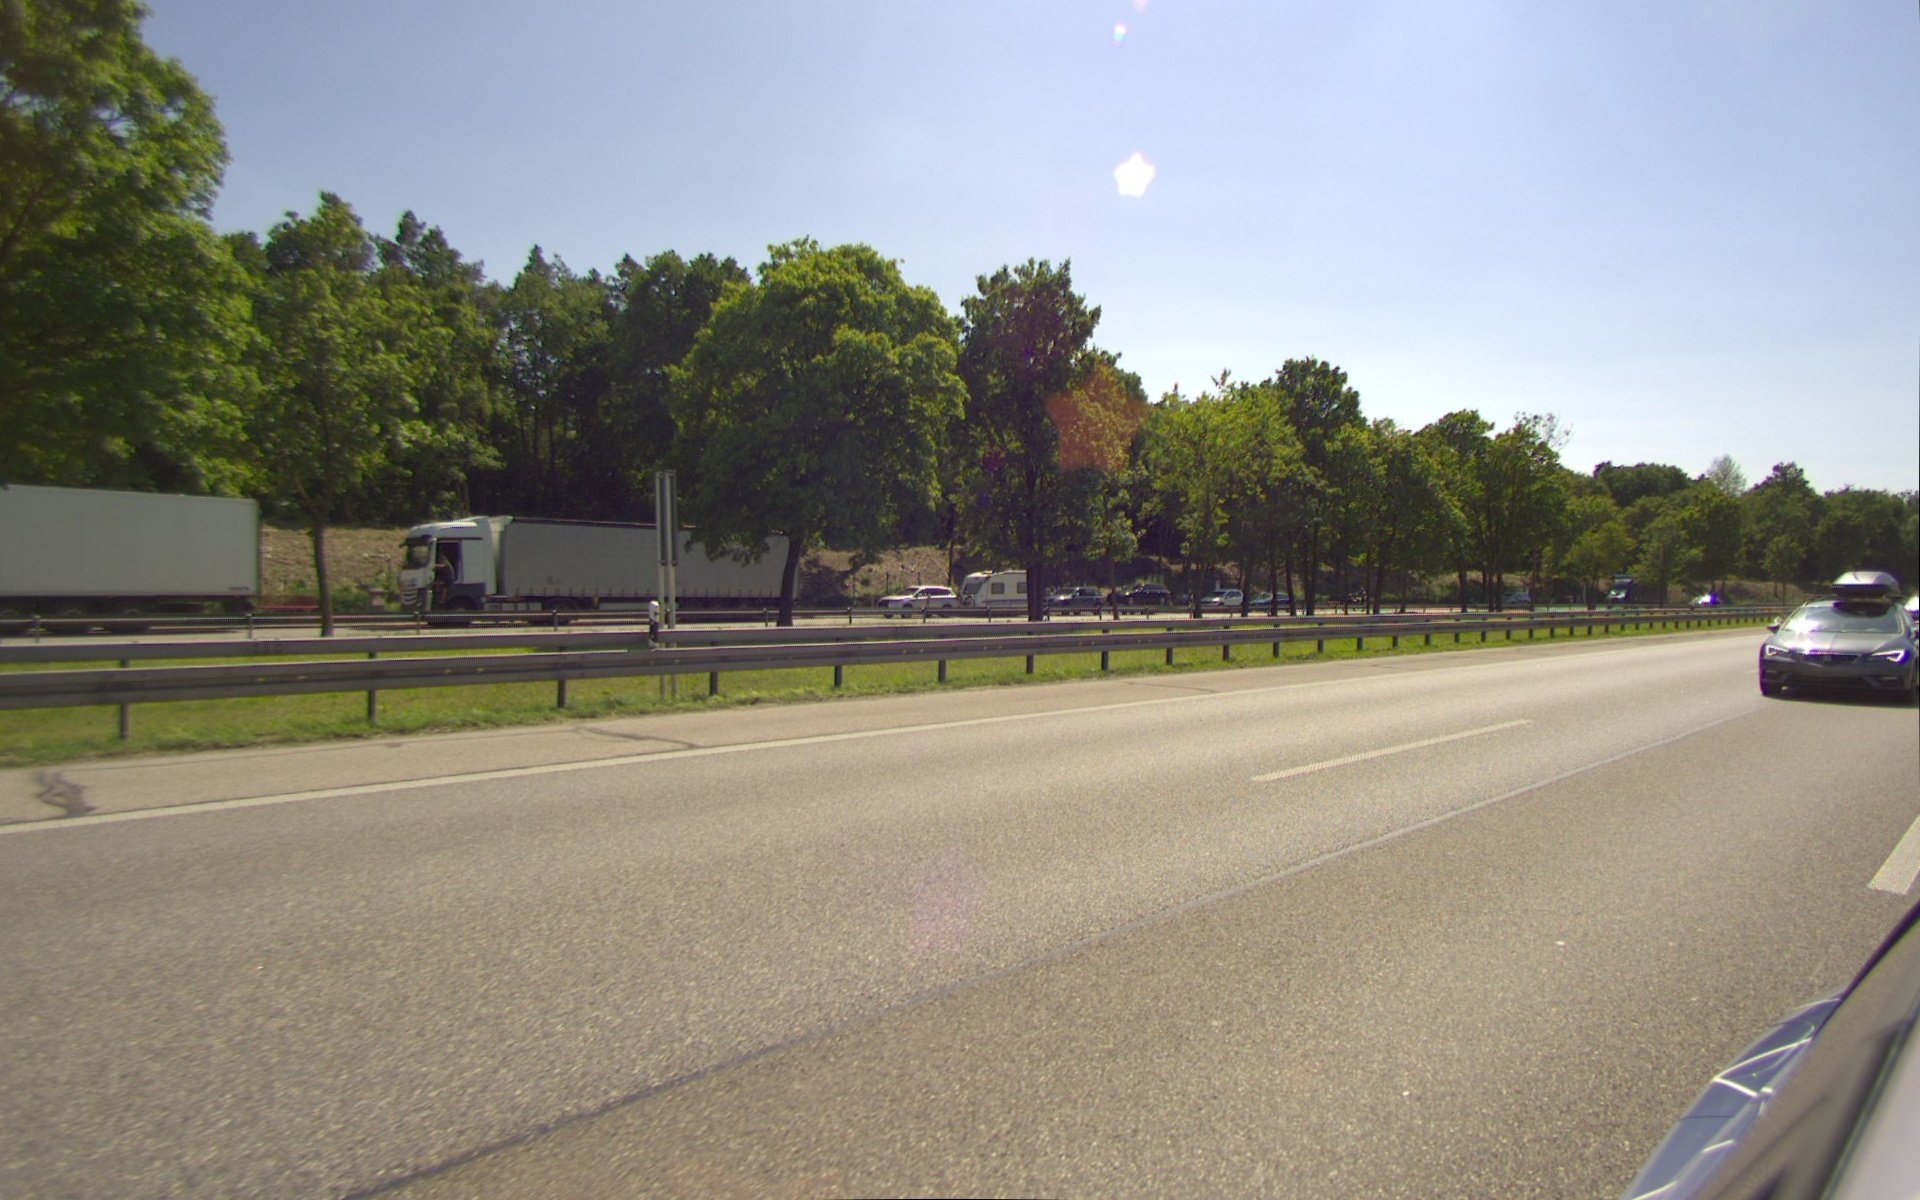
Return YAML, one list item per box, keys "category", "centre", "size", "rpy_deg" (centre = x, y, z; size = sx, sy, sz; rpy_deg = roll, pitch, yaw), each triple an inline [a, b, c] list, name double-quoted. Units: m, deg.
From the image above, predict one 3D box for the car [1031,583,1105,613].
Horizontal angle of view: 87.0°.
- category: "car"
  centre: [6.478, -0.126, 60.362]
  size: [4.413, 1.662, 1.661]
  rpy_deg: [0, 1, -37]

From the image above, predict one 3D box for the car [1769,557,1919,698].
- category: "car"
  centre: [14.362, 0.360, 15.969]
  size: [4.744, 1.899, 1.668]
  rpy_deg: [0, 2, -42]

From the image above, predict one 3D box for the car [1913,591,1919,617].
- category: "car"
  centre: [59.669, 0.260, 61.660]
  size: [3.963, 1.588, 1.847]
  rpy_deg: [0, 0, -40]

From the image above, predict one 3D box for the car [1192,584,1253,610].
- category: "car"
  centre: [18.486, -0.217, 71.138]
  size: [4.565, 1.696, 1.661]
  rpy_deg: [0, 1, -37]

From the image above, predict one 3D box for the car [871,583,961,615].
- category: "car"
  centre: [-2.256, -0.070, 52.531]
  size: [4.470, 1.617, 1.661]
  rpy_deg: [0, 1, -37]

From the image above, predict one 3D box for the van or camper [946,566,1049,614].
- category: "van or camper"
  centre: [2.151, -0.559, 56.494]
  size: [5.772, 2.562, 2.208]
  rpy_deg: [0, 1, -41]

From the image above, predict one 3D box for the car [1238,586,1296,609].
- category: "car"
  centre: [22.789, -0.203, 75.048]
  size: [3.922, 1.593, 2.002]
  rpy_deg: [0, 1, -32]

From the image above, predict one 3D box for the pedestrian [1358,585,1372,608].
- category: "pedestrian"
  centre: [32.780, -0.313, 81.923]
  size: [0.785, 1.804, 0.643]
  rpy_deg: [1, 1, -1]

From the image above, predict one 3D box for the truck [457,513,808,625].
- category: "truck"
  centre: [-12.978, -1.191, 42.301]
  size: [2.997, 3.980, 14.229]
  rpy_deg: [2, 1, 44]

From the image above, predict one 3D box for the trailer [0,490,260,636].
- category: "trailer"
  centre: [-27.054, -0.997, 26.598]
  size: [2.856, 3.844, 13.976]
  rpy_deg: [1, 1, 41]

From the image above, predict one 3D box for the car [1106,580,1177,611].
- category: "car"
  centre: [11.519, -0.272, 64.136]
  size: [4.711, 1.900, 1.661]
  rpy_deg: [0, 1, -37]

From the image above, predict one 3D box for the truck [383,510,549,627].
- category: "truck"
  centre: [-18.041, -1.113, 37.051]
  size: [2.972, 3.980, 4.756]
  rpy_deg: [2, 1, 44]

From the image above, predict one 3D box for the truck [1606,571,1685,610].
- category: "truck"
  centre: [74.336, -0.968, 109.673]
  size: [9.162, 3.996, 3.301]
  rpy_deg: [1, 1, -30]
